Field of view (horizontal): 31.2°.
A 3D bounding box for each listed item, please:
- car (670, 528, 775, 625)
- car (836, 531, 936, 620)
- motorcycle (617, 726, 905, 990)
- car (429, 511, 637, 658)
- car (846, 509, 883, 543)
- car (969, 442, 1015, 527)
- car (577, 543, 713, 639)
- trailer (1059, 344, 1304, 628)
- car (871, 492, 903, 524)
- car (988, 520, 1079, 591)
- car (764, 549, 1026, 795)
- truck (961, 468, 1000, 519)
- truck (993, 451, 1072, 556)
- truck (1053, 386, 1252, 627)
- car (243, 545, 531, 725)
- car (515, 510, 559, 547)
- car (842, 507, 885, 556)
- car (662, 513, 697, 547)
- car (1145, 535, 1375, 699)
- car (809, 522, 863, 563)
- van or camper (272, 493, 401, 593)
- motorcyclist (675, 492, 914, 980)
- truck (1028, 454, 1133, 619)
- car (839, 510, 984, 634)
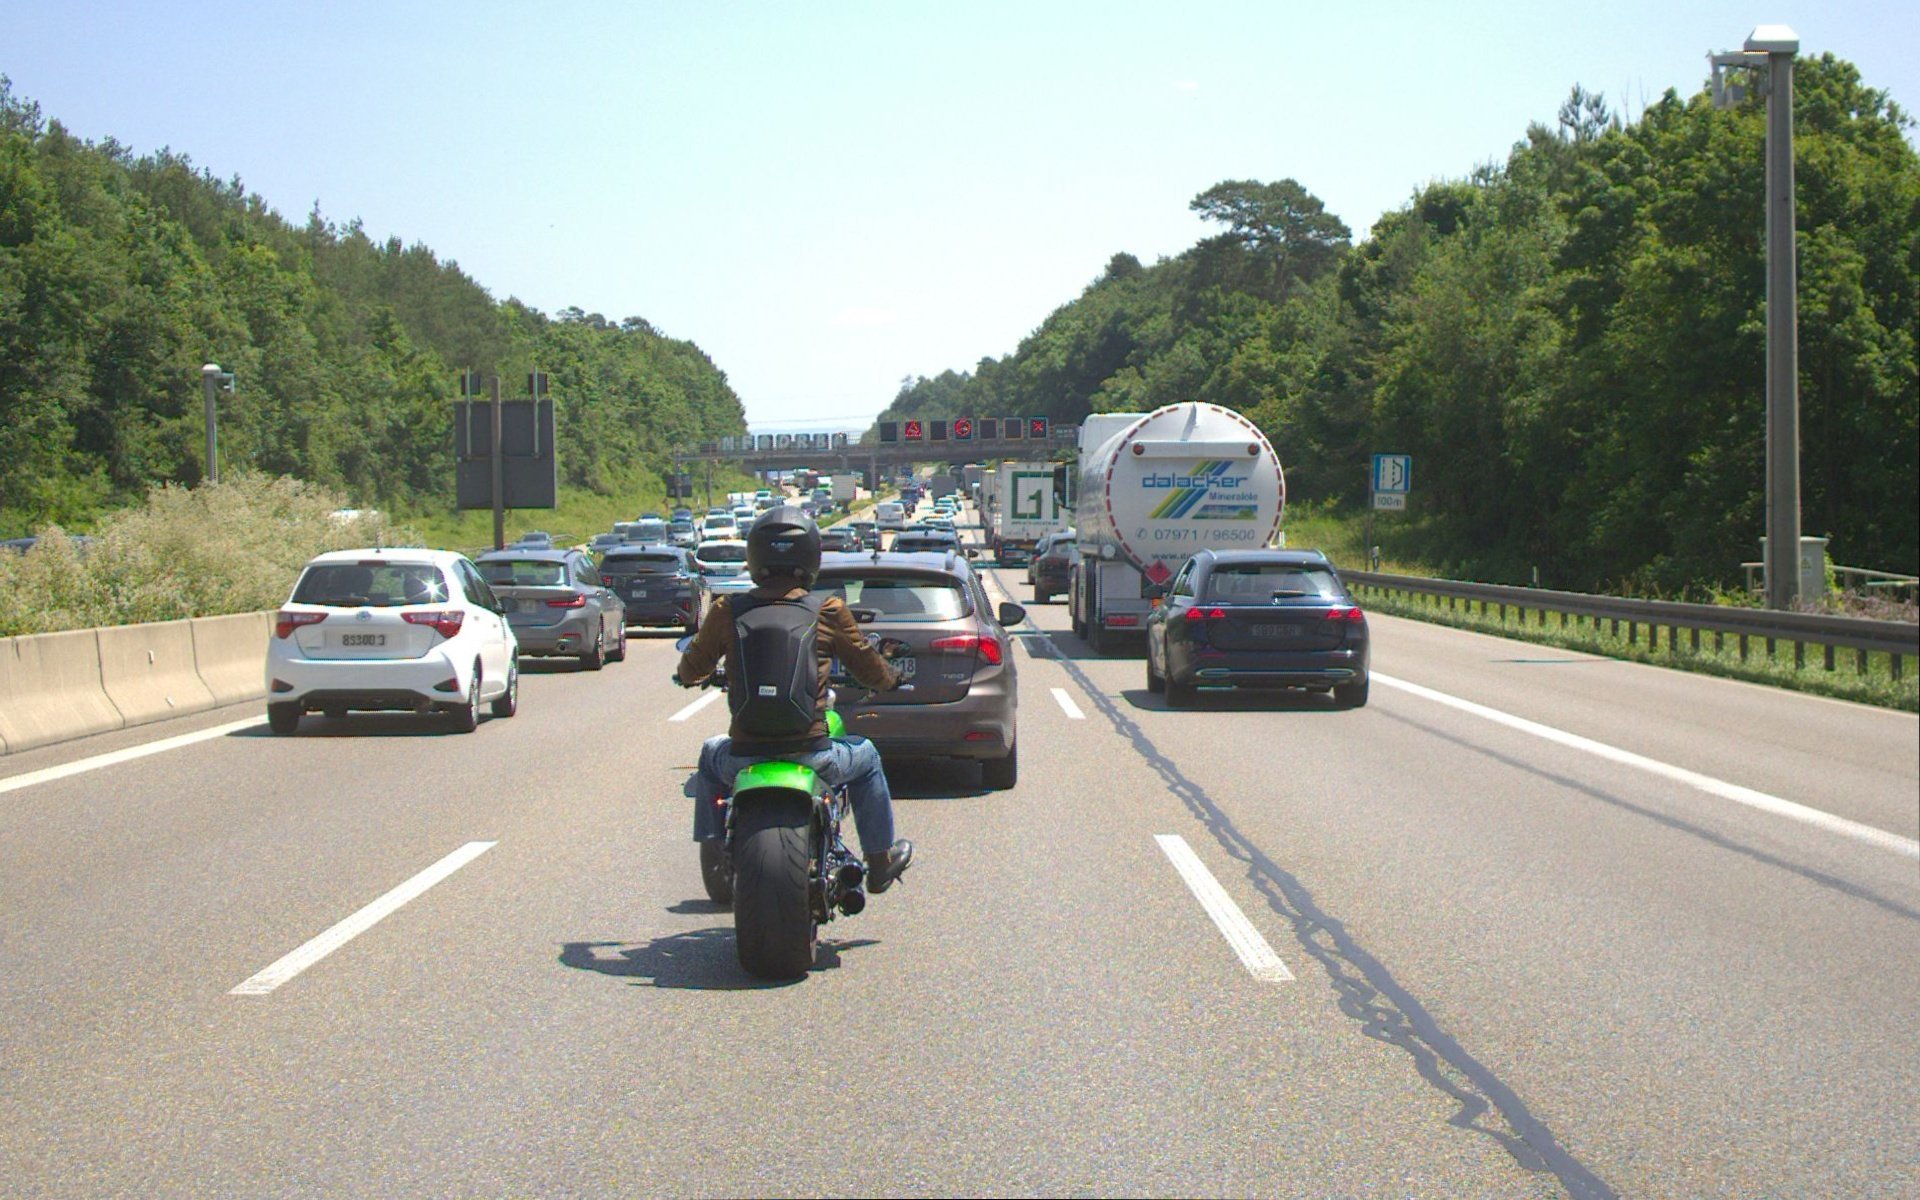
[{"bbox_3d":[-5.065,-0.477,73.747,1.993,2.007,4.000,1,0,-1],"label":"car"},{"bbox_3d":[-1.529,-0.481,71.457,1.993,1.769,4.000,1,0,-1],"label":"car"},{"bbox_3d":[-0.693,0.915,12.787,0.936,0.790,2.299,1,0,0],"label":"motorcycle"},{"bbox_3d":[-5.146,-0.166,41.988,1.993,1.678,4.330,1,0,0],"label":"car"},{"bbox_3d":[-4.608,-3.583,166.935,1.660,1.594,4.000,0,0,0],"label":"car"},{"bbox_3d":[1.561,-5.739,172.423,2.167,3.879,9.330,1,0,0],"label":"car"},{"bbox_3d":[-5.013,-0.125,55.151,1.993,1.459,4.000,1,0,-3],"label":"car"},{"bbox_3d":[3.027,-1.454,49.980,2.828,3.658,10.732,1,0,0],"label":"trailer"},{"bbox_3d":[-4.746,-6.009,224.260,1.993,2.007,4.000,-1,0,0],"label":"car"},{"bbox_3d":[1.669,-0.999,78.846,1.776,1.522,4.000,1,0,-3],"label":"car"},{"bbox_3d":[-0.388,0.407,22.367,1.541,1.445,4.000,1,1,0],"label":"car"},{"bbox_3d":[1.447,-7.585,245.821,2.696,3.394,10.478,-1,0,0],"label":"truck"},{"bbox_3d":[2.864,-3.712,134.171,2.854,3.808,7.187,0,0,3],"label":"truck"},{"bbox_3d":[3.029,-1.406,55.705,2.828,3.659,6.429,1,0,0],"label":"truck"},{"bbox_3d":[-4.781,0.247,29.172,1.776,1.406,4.000,1,1,0],"label":"car"},{"bbox_3d":[-23.112,-3.906,187.974,1.993,2.007,4.000,0,1,-1],"label":"car"},{"bbox_3d":[-4.068,-2.867,144.978,1.660,1.971,4.000,0,0,0],"label":"car"},{"bbox_3d":[-15.521,-3.868,190.253,1.696,1.807,4.000,0,1,-1],"label":"car"},{"bbox_3d":[2.815,0.167,33.134,1.792,1.453,4.624,1,0,0],"label":"car"},{"bbox_3d":[-4.576,-2.132,127.104,1.764,1.437,4.000,2,1,0],"label":"car"},{"bbox_3d":[-15.861,-1.409,87.734,2.152,2.414,6.196,1,0,0],"label":"van or camper"},{"bbox_3d":[-0.580,0.474,12.426,0.799,1.682,1.016,1,0,0],"label":"motorcyclist"},{"bbox_3d":[3.369,-1.827,98.362,2.388,4.449,10.870,0,1,-1],"label":"truck"},{"bbox_3d":[-0.698,-0.381,49.639,1.993,1.705,4.000,1,0,-1],"label":"car"}]
